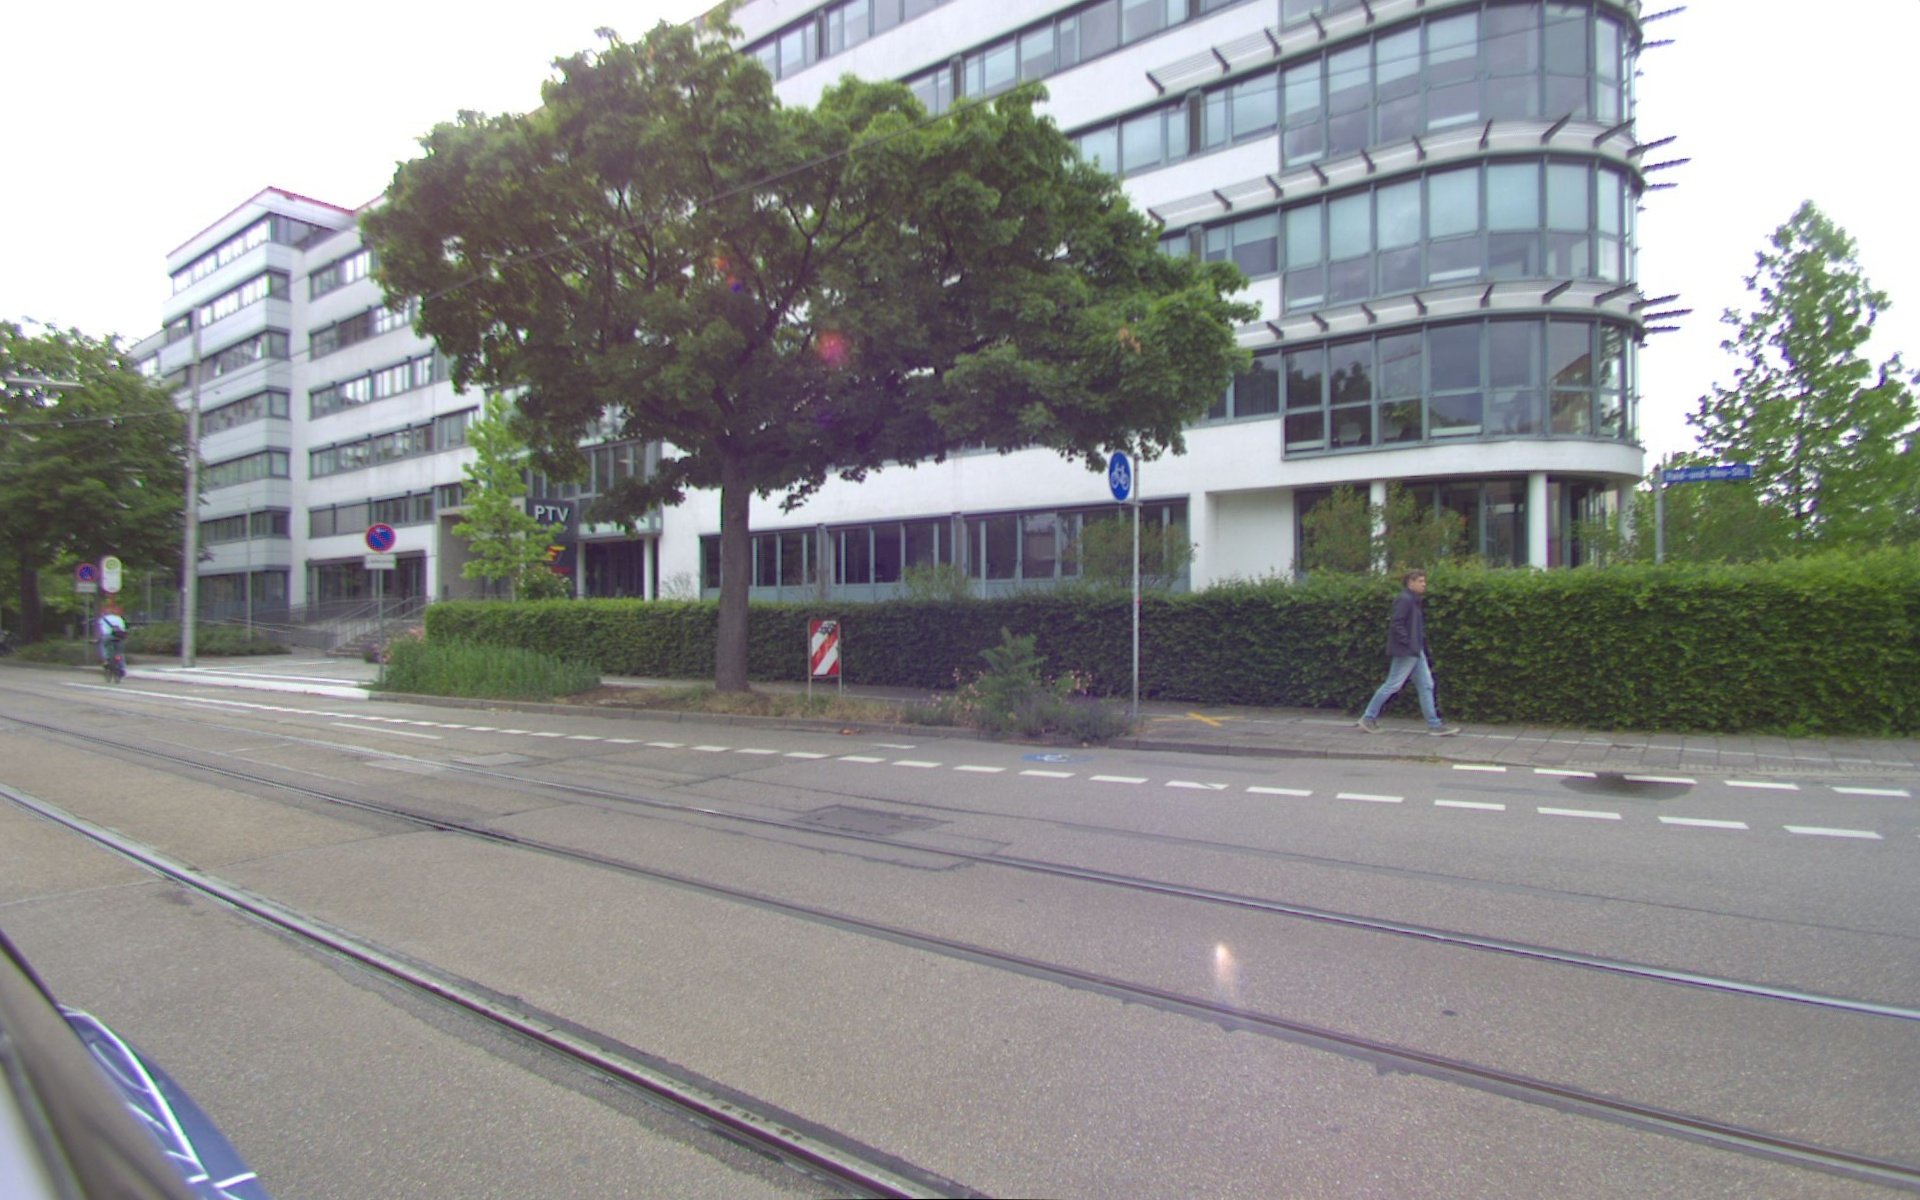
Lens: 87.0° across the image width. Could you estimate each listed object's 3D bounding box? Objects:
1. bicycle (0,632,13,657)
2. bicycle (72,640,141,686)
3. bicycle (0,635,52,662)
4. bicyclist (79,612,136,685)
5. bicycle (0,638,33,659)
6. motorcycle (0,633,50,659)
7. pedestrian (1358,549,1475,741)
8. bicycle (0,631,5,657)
[{"bbox_3d":[-43.983,2.021,45.604,0.630,1.108,1.793,0,-2,30],"label":"bicycle"},{"bbox_3d":[-21.170,1.555,25.082,1.947,1.082,0.583,-1,-2,27],"label":"bicycle"},{"bbox_3d":[-38.942,1.994,41.940,0.738,1.061,1.817,-1,-1,28],"label":"bicycle"},{"bbox_3d":[-21.118,1.182,25.068,0.974,1.762,0.731,-1,-2,27],"label":"bicyclist"},{"bbox_3d":[-41.929,2.106,44.364,0.630,0.906,1.793,0,-2,30],"label":"bicycle"},{"bbox_3d":[-40.477,1.973,43.608,0.730,1.058,1.776,-1,0,29],"label":"motorcycle"},{"bbox_3d":[5.077,0.471,11.262,0.991,2.029,0.702,-1,0,44],"label":"pedestrian"},{"bbox_3d":[-44.954,1.999,46.242,0.632,1.195,1.845,-1,-3,41],"label":"bicycle"}]
